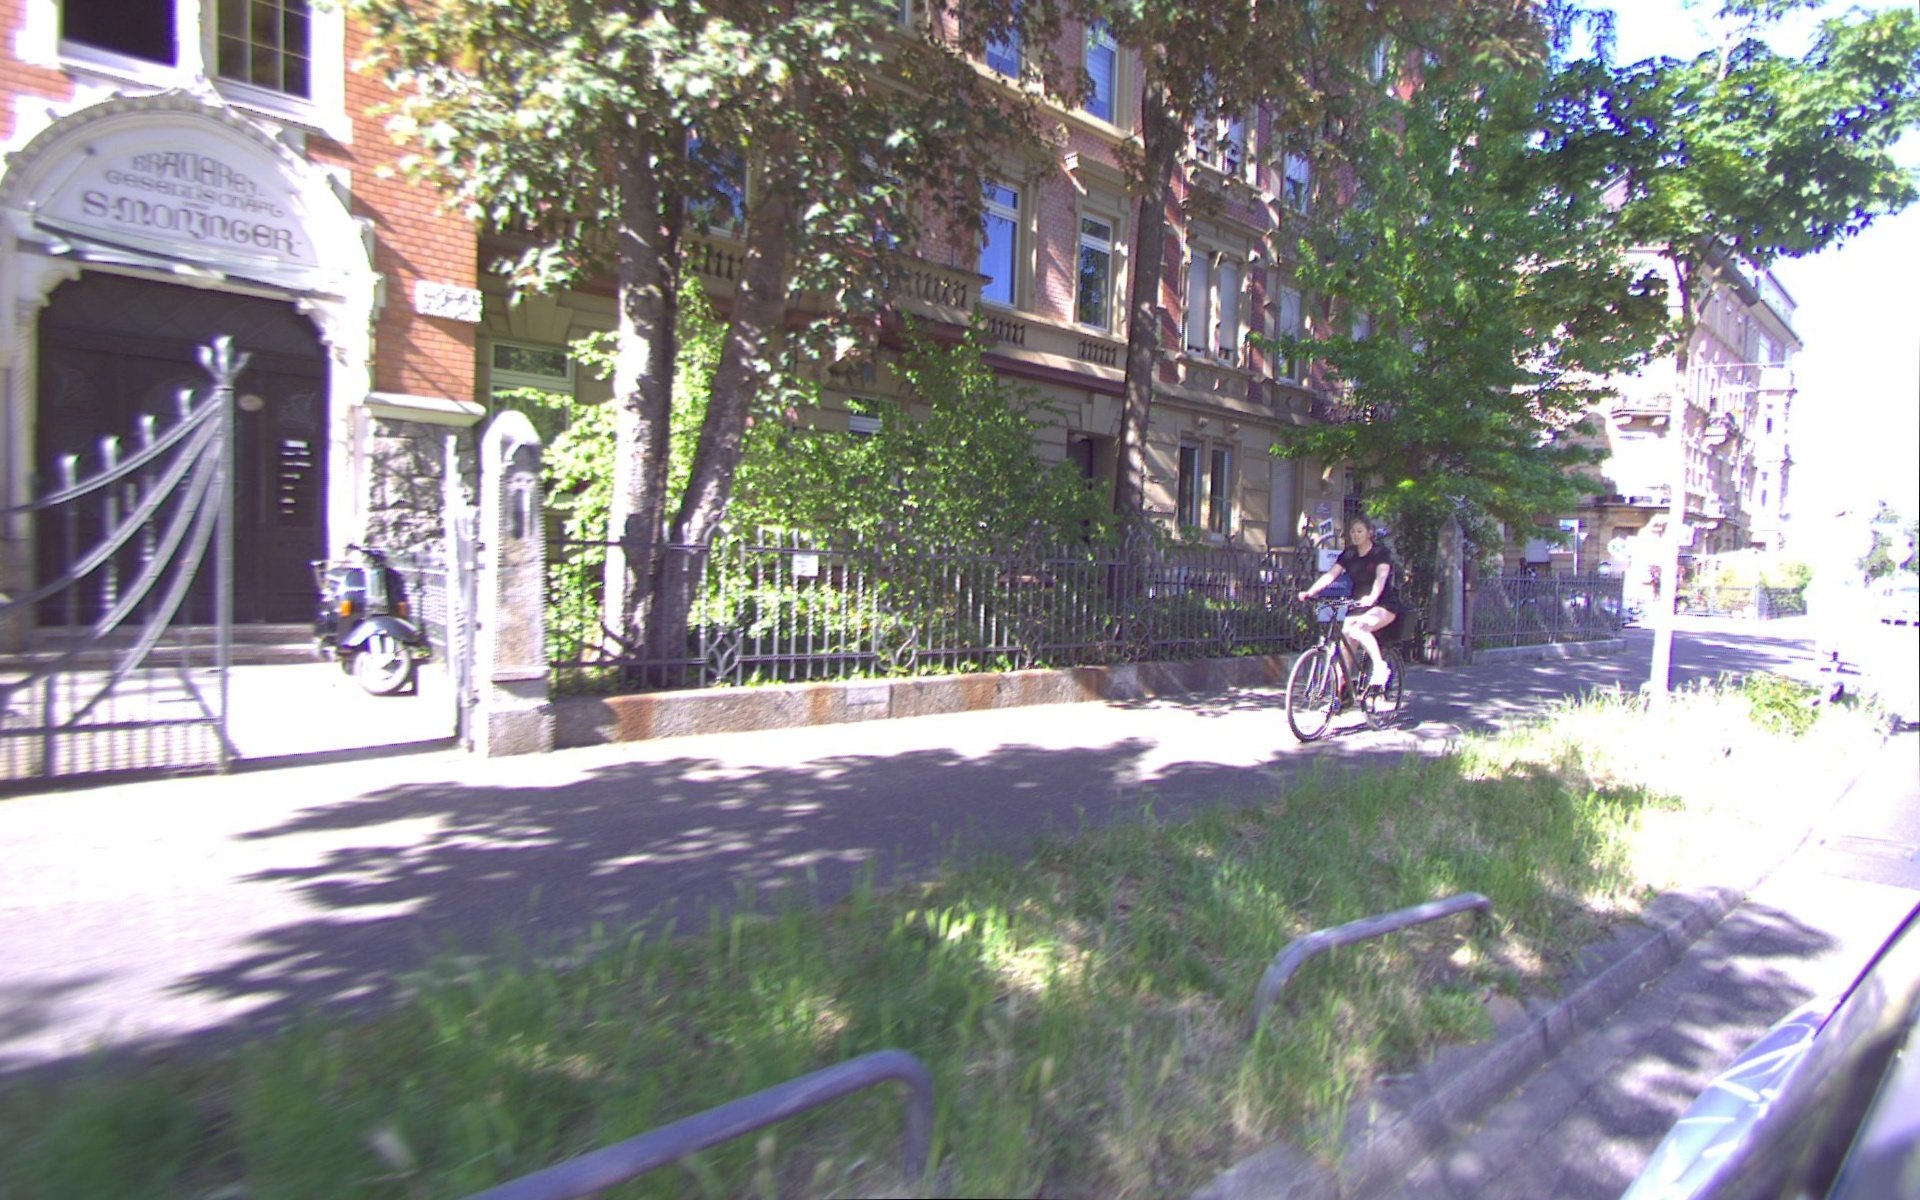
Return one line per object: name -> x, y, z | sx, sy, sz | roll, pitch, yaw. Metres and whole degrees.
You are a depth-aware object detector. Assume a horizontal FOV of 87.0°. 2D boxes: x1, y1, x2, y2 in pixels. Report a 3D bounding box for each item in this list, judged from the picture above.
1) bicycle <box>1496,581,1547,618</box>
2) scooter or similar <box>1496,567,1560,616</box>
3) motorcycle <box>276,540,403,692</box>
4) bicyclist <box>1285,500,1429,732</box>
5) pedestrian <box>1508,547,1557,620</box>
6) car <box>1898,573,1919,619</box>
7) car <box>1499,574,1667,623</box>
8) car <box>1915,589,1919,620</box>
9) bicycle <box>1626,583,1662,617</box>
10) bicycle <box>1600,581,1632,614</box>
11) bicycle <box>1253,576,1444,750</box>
bicycle -> 18.214, -0.013, 32.808 | 1.980, 1.148, 0.585 | 1, 1, -35
scooter or similar -> 15.312, -0.237, 27.288 | 1.380, 1.278, 0.763 | 0, 3, -24
motorcycle -> -4.961, 0.057, 8.145 | 0.766, 1.044, 1.884 | -1, 4, -31
bicyclist -> 3.158, 0.098, 8.048 | 0.874, 1.715, 0.646 | 0, 5, -44
pedestrian -> 15.510, -0.466, 27.441 | 0.679, 1.916, 0.768 | 3, 2, -10
car -> 41.374, -0.177, 43.210 | 3.502, 1.896, 1.691 | 0, 3, -44
car -> 21.163, -0.097, 34.544 | 2.010, 1.434, 4.420 | 0, 3, -38
car -> 54.679, 0.250, 56.221 | 4.618, 1.709, 1.892 | 0, 2, -41
bicycle -> 25.392, -0.030, 37.549 | 1.987, 1.148, 0.734 | -3, 4, -45
bicycle -> 24.636, -0.101, 38.003 | 0.583, 1.148, 1.987 | 4, 4, 44
bicycle -> 3.122, 0.434, 8.045 | 1.813, 1.190, 0.653 | -1, 5, -45
